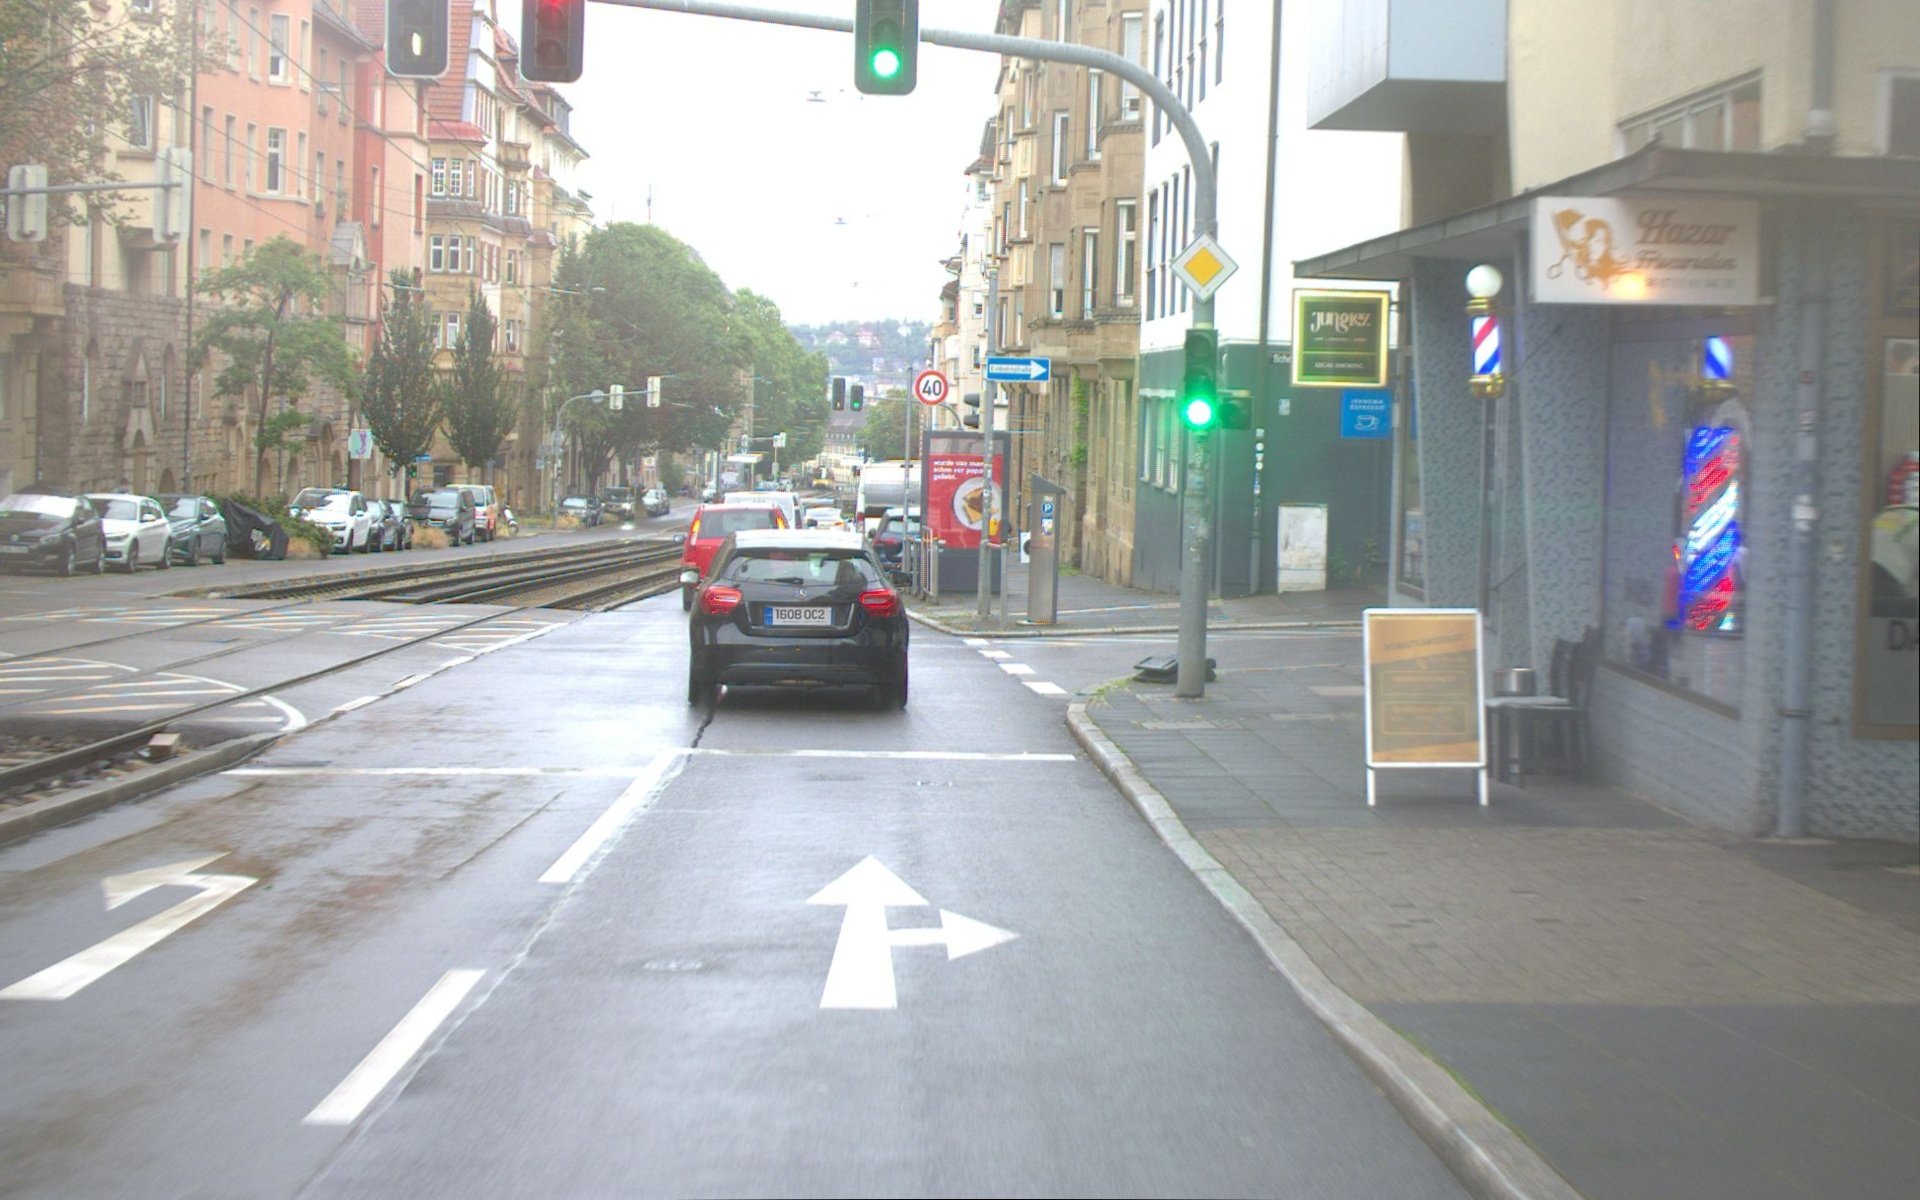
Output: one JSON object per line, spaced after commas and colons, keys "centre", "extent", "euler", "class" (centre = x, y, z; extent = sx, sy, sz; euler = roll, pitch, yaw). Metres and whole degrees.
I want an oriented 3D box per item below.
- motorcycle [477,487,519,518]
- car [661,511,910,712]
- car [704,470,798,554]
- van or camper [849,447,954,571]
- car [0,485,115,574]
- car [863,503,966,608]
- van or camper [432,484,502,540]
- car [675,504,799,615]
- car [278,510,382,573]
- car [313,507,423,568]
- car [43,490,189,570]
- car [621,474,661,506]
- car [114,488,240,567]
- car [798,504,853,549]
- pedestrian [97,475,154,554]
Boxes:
{"centre": [-17.579, -3.705, 130.794], "extent": [1.439, 1.130, 0.619], "euler": [3, 2, 29], "class": "motorcycle"}
{"centre": [-1.439, 0.050, 28.853], "extent": [1.946, 1.559, 3.643], "euler": [1, 1, -2], "class": "car"}
{"centre": [-4.418, -1.874, 72.390], "extent": [1.921, 1.649, 4.001], "euler": [1, 3, -4], "class": "car"}
{"centre": [-1.203, -1.891, 71.679], "extent": [2.064, 2.460, 6.119], "euler": [1, 1, -1], "class": "van or camper"}
{"centre": [-16.163, -1.244, 60.160], "extent": [1.765, 1.481, 4.000], "euler": [1, 1, 0], "class": "car"}
{"centre": [-0.851, -0.855, 63.216], "extent": [1.768, 1.801, 4.483], "euler": [2, 2, -1], "class": "car"}
{"centre": [-17.283, -3.097, 120.717], "extent": [1.993, 1.895, 4.700], "euler": [1, 1, -3], "class": "van or camper"}
{"centre": [-3.219, -0.621, 50.157], "extent": [1.535, 1.505, 4.000], "euler": [2, 1, -1], "class": "car"}
{"centre": [-16.470, -1.547, 90.088], "extent": [1.784, 1.584, 4.351], "euler": [1, 1, 2], "class": "car"}
{"centre": [-16.454, -1.764, 95.774], "extent": [1.994, 1.504, 4.974], "euler": [3, 2, 2], "class": "car"}
{"centre": [-15.973, -1.344, 65.237], "extent": [1.667, 1.421, 4.263], "euler": [1, 2, 1], "class": "car"}
{"centre": [-18.761, -6.470, 202.532], "extent": [1.993, 1.787, 4.001], "euler": [2, 2, -1], "class": "car"}
{"centre": [-16.147, -1.527, 71.055], "extent": [1.561, 1.433, 4.147], "euler": [0, 4, 1], "class": "car"}
{"centre": [-4.845, -2.650, 124.034], "extent": [1.902, 1.588, 4.000], "euler": [1, 1, -1], "class": "car"}
{"centre": [-18.857, -1.935, 77.669], "extent": [1.007, 1.747, 0.924], "euler": [2, 2, 1], "class": "pedestrian"}
